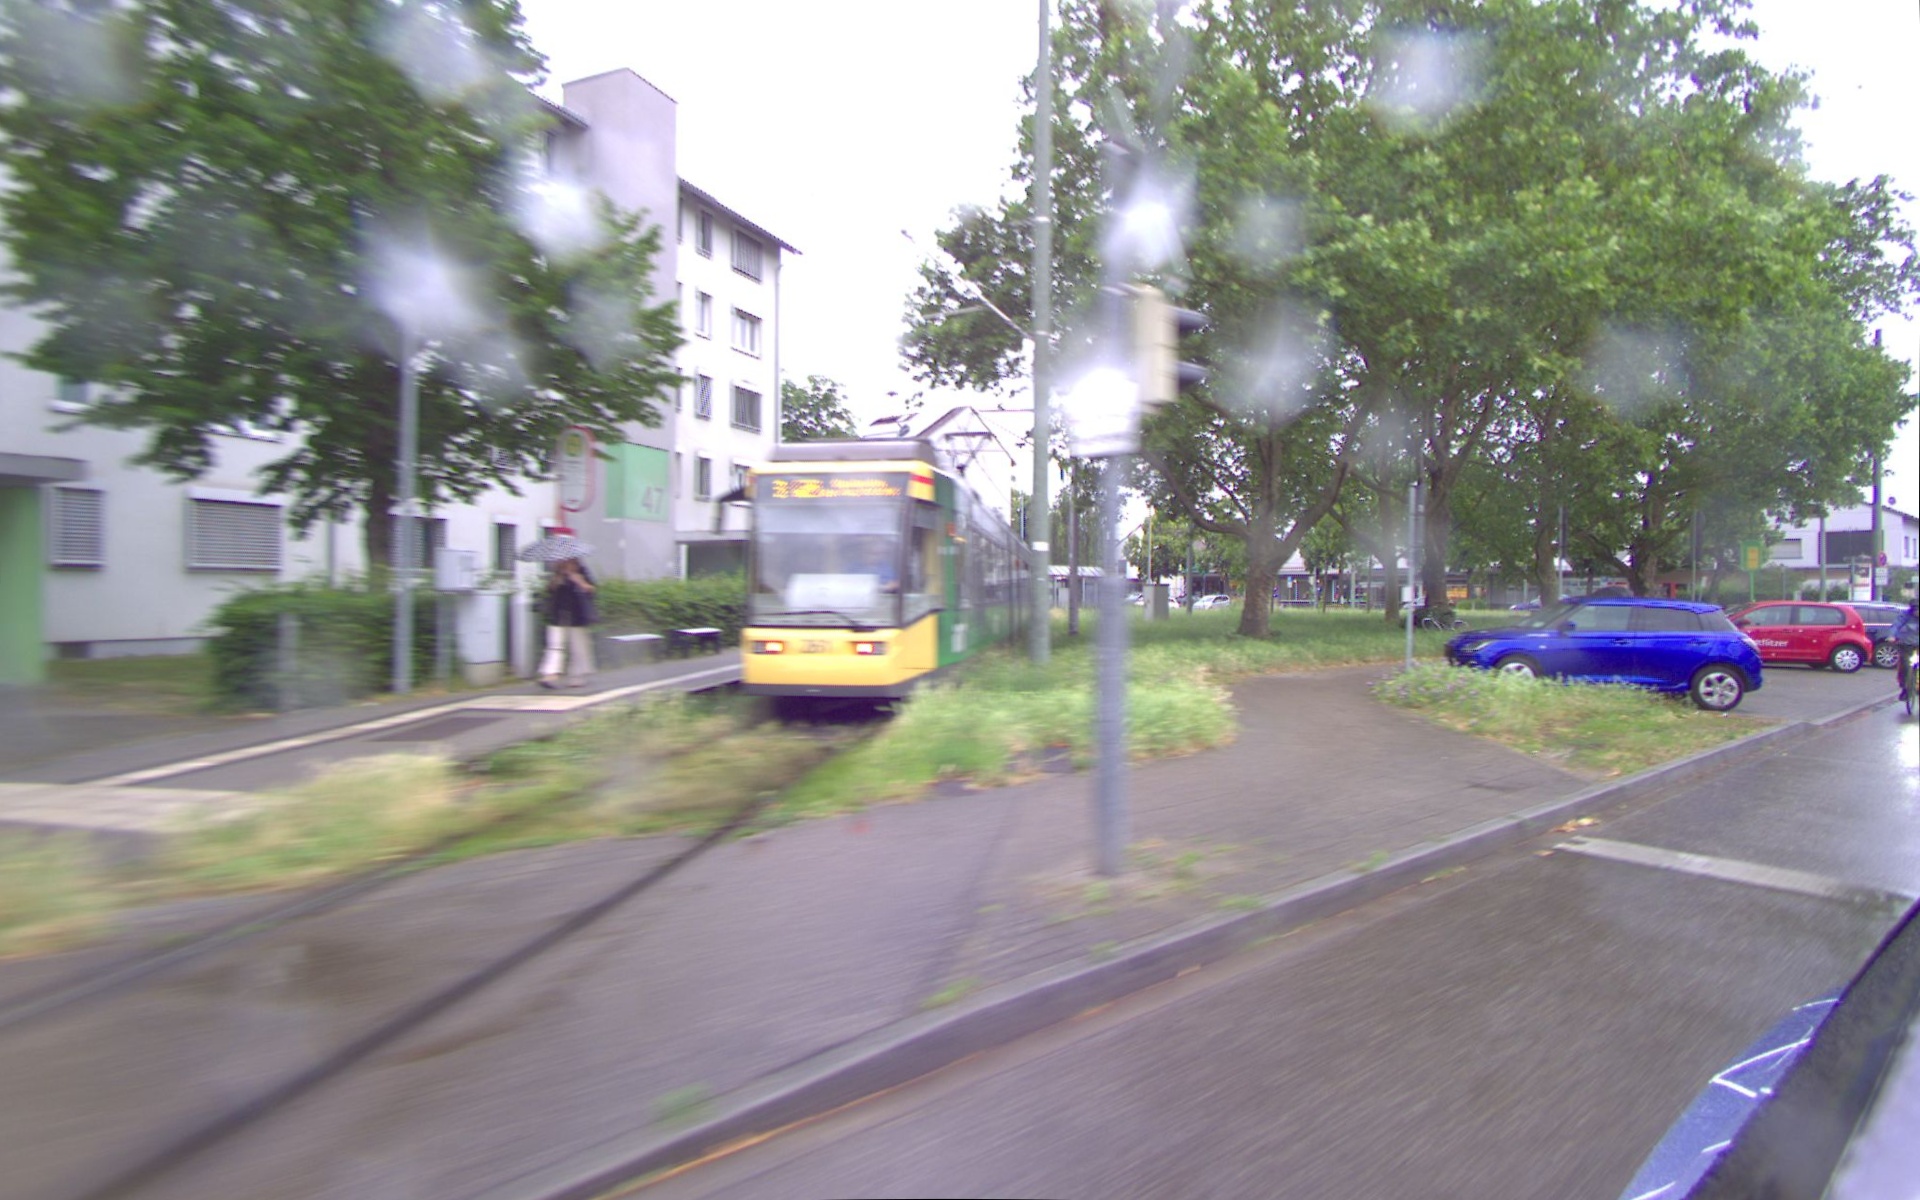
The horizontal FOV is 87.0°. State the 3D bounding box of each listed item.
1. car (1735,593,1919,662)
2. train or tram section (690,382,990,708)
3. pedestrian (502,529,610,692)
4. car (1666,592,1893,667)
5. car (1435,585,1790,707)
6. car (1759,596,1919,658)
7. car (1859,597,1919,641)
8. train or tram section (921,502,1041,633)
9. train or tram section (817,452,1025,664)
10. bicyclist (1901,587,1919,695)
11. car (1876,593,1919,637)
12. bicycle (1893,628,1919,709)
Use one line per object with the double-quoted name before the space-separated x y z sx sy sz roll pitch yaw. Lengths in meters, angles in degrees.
"car" 20.988 0.628 24.120 3.668 1.502 1.606 1 1 25
"train or tram section" -1.197 -0.645 13.859 2.710 3.381 6.391 1 1 6
"pedestrian" -4.671 0.104 11.760 0.848 1.797 1.019 1 1 0
"car" 17.904 0.603 22.306 3.538 1.477 1.606 1 1 24
"car" 9.164 0.571 14.596 3.947 1.546 1.710 1 1 18
"car" 23.425 0.677 26.459 3.668 1.502 1.606 1 1 25
"car" 33.126 0.647 34.266 3.668 1.434 1.606 1 1 25
"train or tram section" 0.947 -0.951 31.629 2.710 3.381 10.333 1 1 7
"train or tram section" -0.322 -0.773 21.434 2.711 3.381 10.332 1 1 7
"bicyclist" 13.967 0.585 14.427 0.702 1.531 0.710 0 1 -40
"car" 35.501 0.565 36.203 3.668 1.541 1.606 1 1 25
"bicycle" 13.935 0.966 14.405 2.062 1.050 0.710 0 1 -41
